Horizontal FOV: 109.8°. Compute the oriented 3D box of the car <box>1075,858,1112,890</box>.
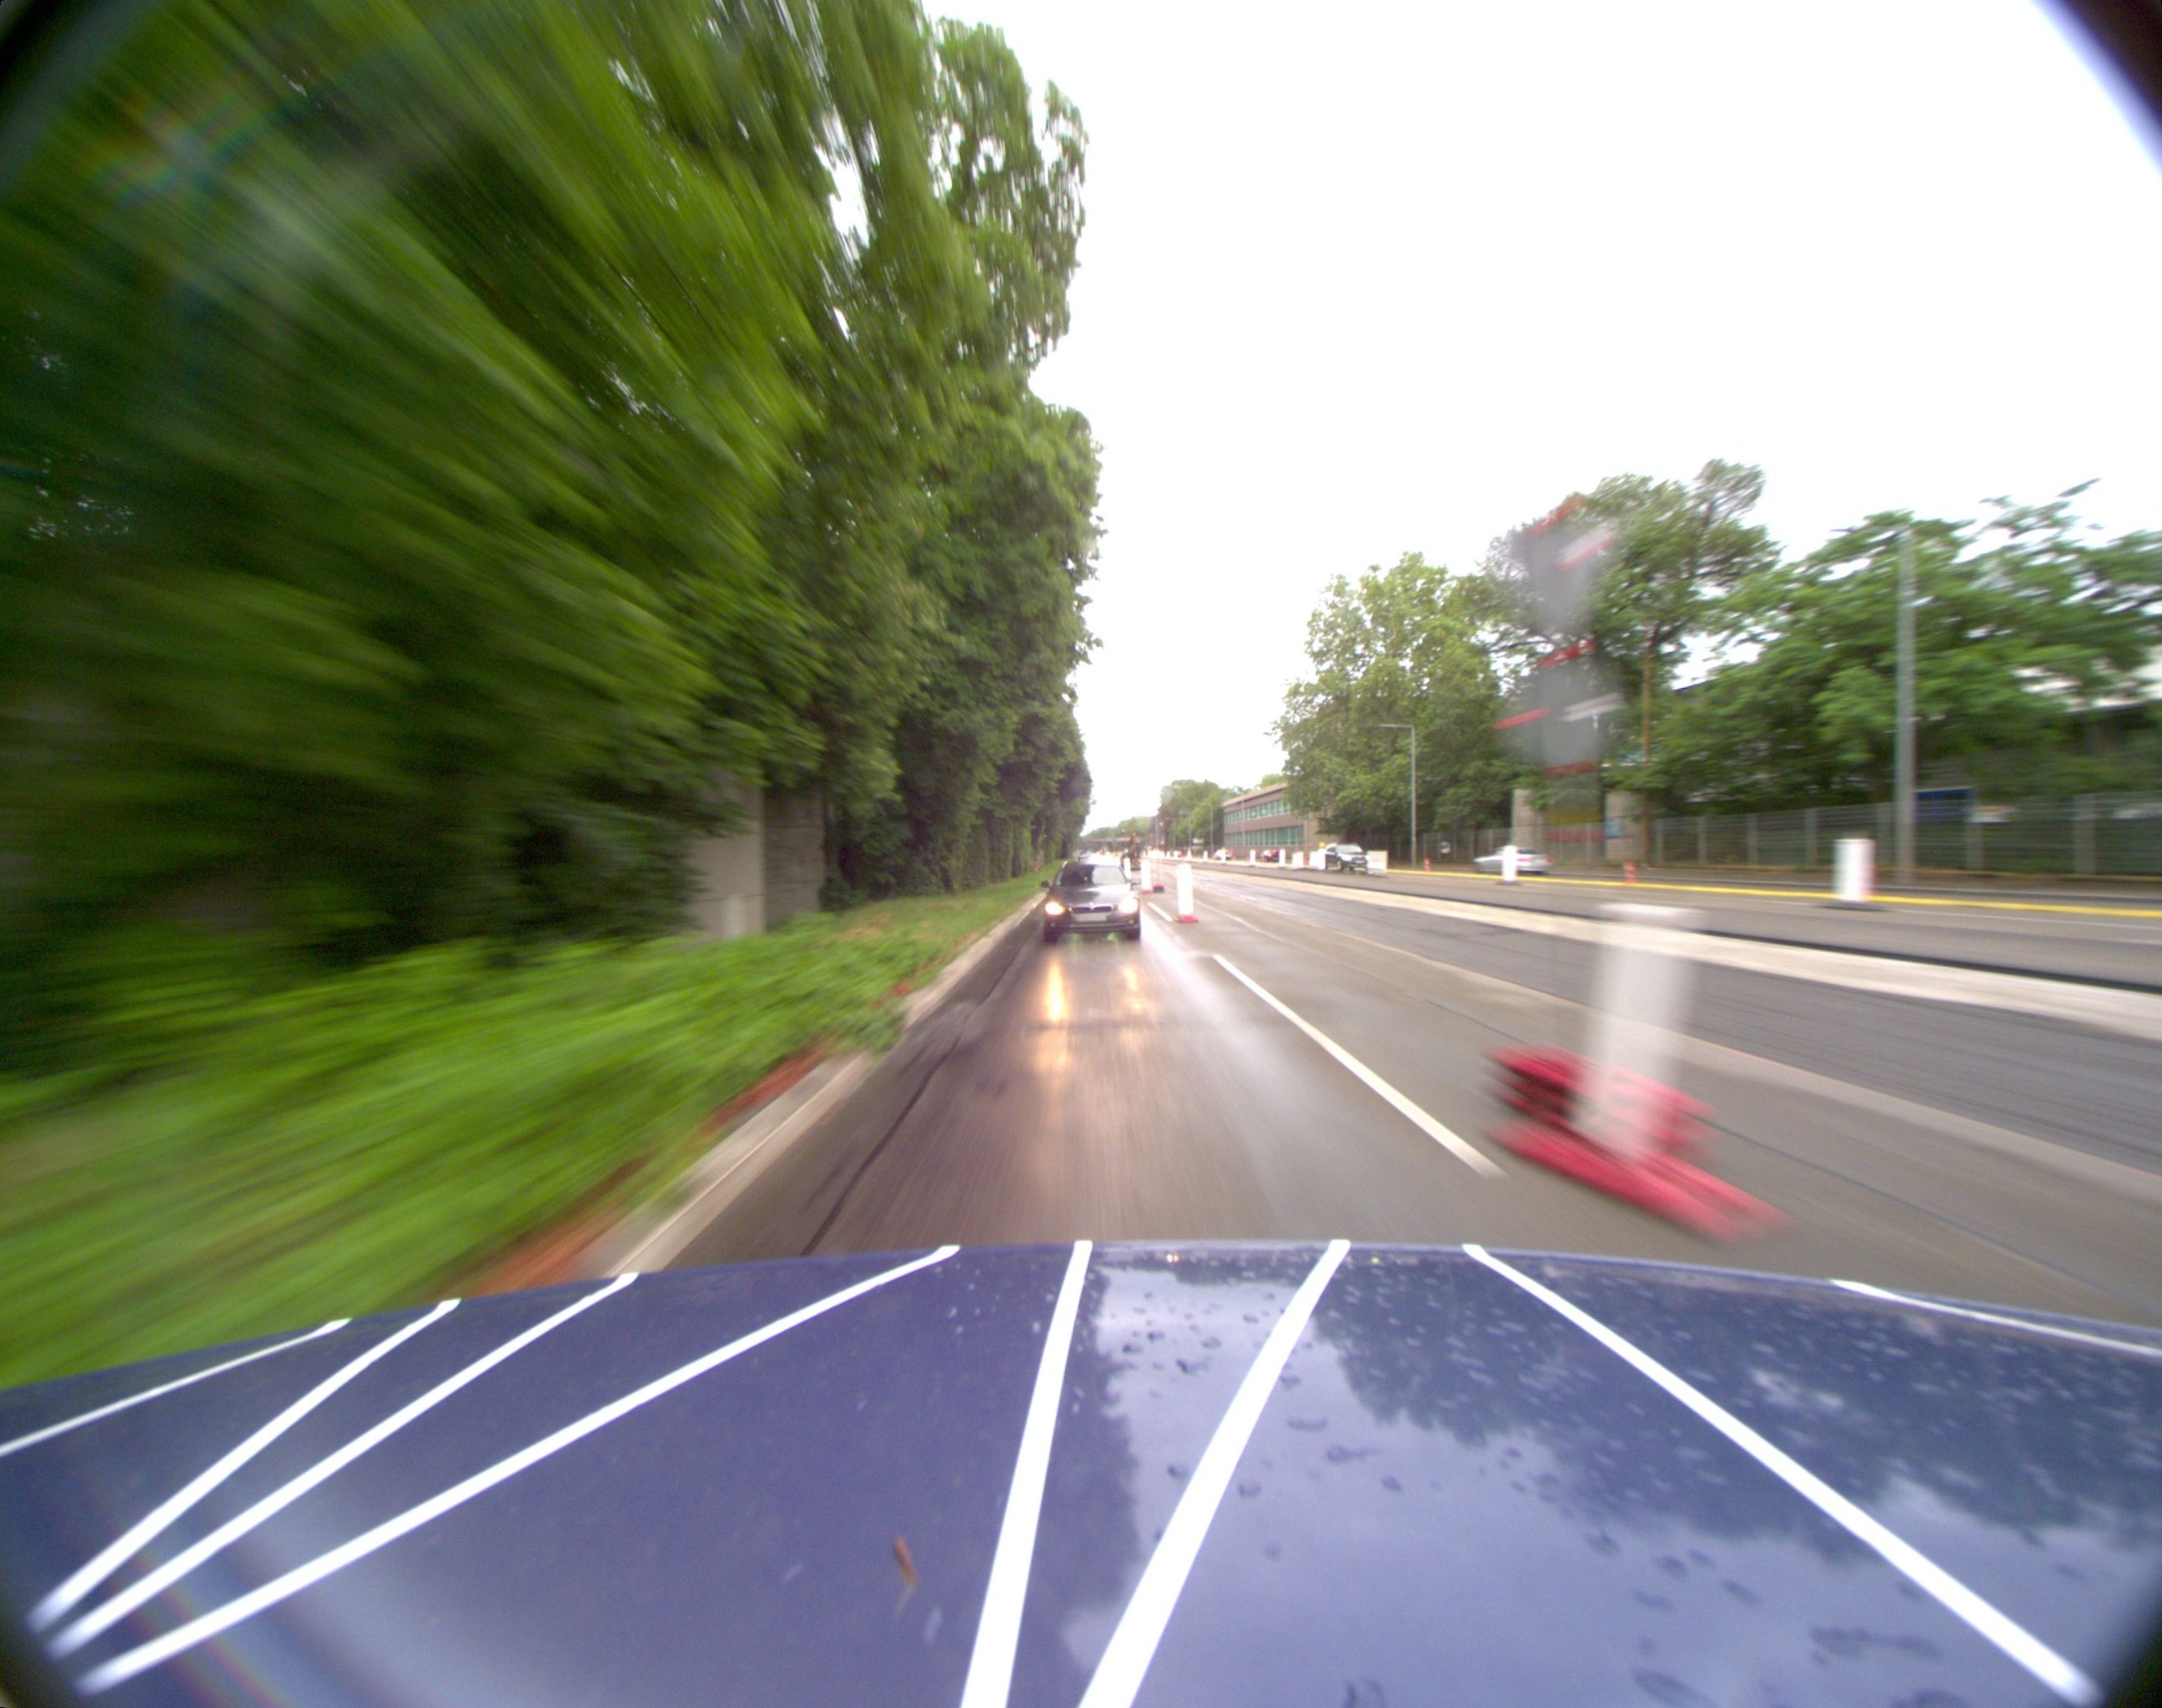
[{"bbox_3d":[0.654,0.955,38.557,1.742,1.454,4.458,-1,0,1],"label":"car"}]

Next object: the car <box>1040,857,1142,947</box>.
[{"bbox_3d":[0.212,0.841,15.385,1.742,1.454,4.458,-1,0,1],"label":"car"}]

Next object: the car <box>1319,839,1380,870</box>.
[{"bbox_3d":[15.875,0.064,45.261,1.998,1.695,4.985,2,-1,2],"label":"car"}]

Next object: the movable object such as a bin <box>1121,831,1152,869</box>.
[{"bbox_3d":[4.788,-0.369,66.162,1.999,3.084,5.622,-1,1,-2],"label":"movable object such as a bin"}]

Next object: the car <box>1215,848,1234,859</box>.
[{"bbox_3d":[19.654,-0.048,103.932,1.841,1.426,4.148,-1,0,0],"label":"car"}]

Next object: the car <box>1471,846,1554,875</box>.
[{"bbox_3d":[21.388,0.286,37.858,1.671,1.307,4.455,1,0,1],"label":"car"}]
